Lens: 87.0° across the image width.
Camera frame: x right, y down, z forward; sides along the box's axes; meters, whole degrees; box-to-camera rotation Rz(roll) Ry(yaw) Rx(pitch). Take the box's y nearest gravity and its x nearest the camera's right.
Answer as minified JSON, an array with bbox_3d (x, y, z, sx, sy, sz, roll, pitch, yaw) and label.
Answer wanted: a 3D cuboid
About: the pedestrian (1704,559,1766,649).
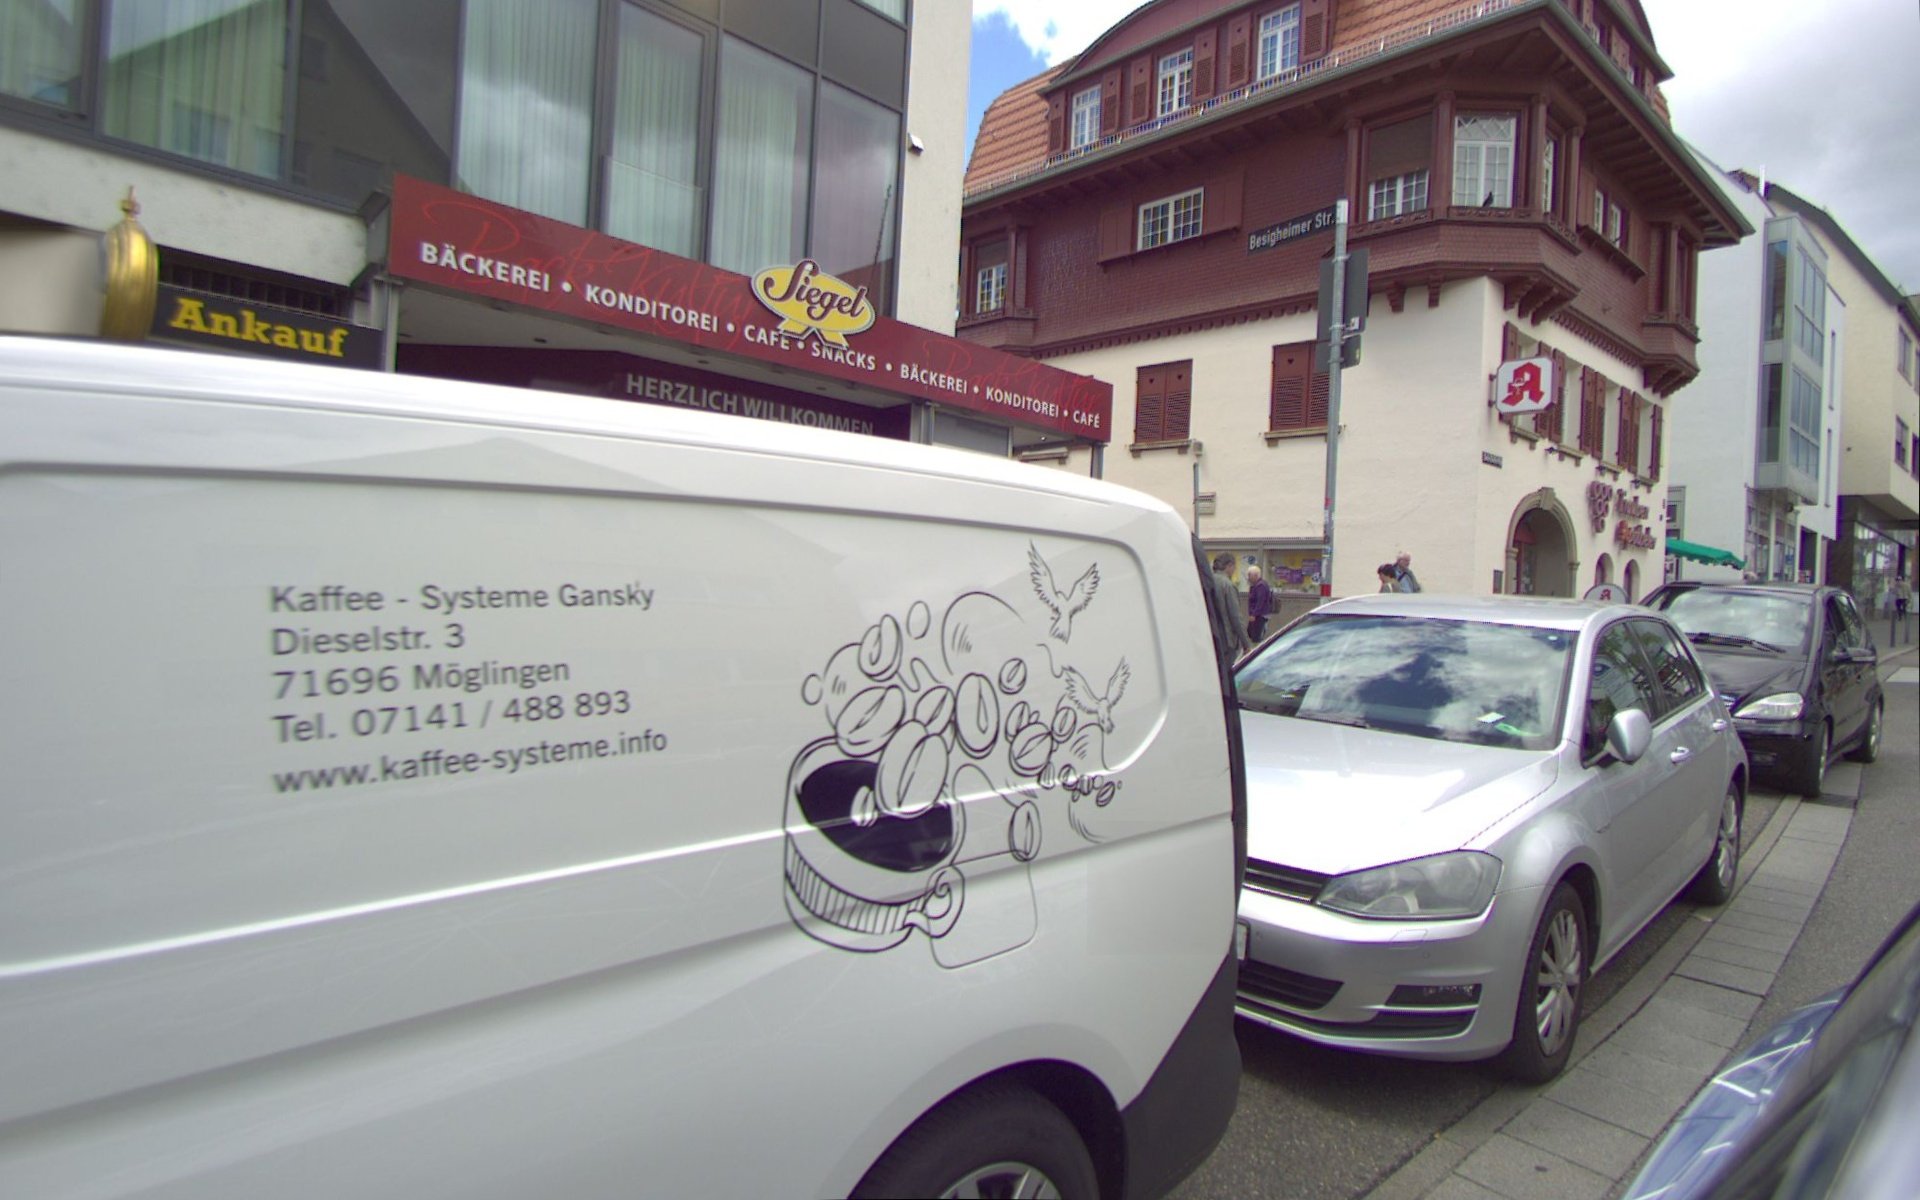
[{"bbox_3d":[16.564,0.063,21.645,0.690,1.880,0.780,1,1,2],"label":"pedestrian"}]

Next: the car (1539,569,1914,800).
[{"bbox_3d":[6.865,0.546,8.929,3.884,1.574,1.807,-1,2,-40],"label":"car"}]

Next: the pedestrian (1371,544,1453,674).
[{"bbox_3d":[6.466,0.115,14.488,0.803,1.791,0.776,0,1,-39],"label":"pedestrian"}]

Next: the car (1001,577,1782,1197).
[{"bbox_3d":[2.164,0.666,4.442,3.933,1.485,1.705,-1,2,-43],"label":"car"}]

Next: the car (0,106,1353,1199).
[{"bbox_3d":[-1.568,0.461,1.523,4.645,1.822,1.882,0,1,-37],"label":"car"}]

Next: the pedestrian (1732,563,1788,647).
[{"bbox_3d":[17.426,0.099,22.047,0.612,1.789,0.704,0,1,-14],"label":"pedestrian"}]

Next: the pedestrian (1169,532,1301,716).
[{"bbox_3d":[2.750,0.210,10.141,0.927,1.728,0.867,0,1,-34],"label":"pedestrian"}]

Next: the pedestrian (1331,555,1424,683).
[{"bbox_3d":[5.673,0.227,13.760,0.853,1.665,0.775,0,2,-34],"label":"pedestrian"}]

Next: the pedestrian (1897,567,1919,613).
[{"bbox_3d":[36.372,-0.378,38.618,0.767,1.693,0.759,0,4,-42],"label":"pedestrian"}]

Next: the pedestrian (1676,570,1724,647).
[{"bbox_3d":[15.918,0.168,21.769,0.689,1.633,0.626,0,1,-35],"label":"pedestrian"}]

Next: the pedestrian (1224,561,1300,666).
[{"bbox_3d":[4.693,0.187,15.753,0.792,1.549,0.727,0,4,-34],"label":"pedestrian"}]
